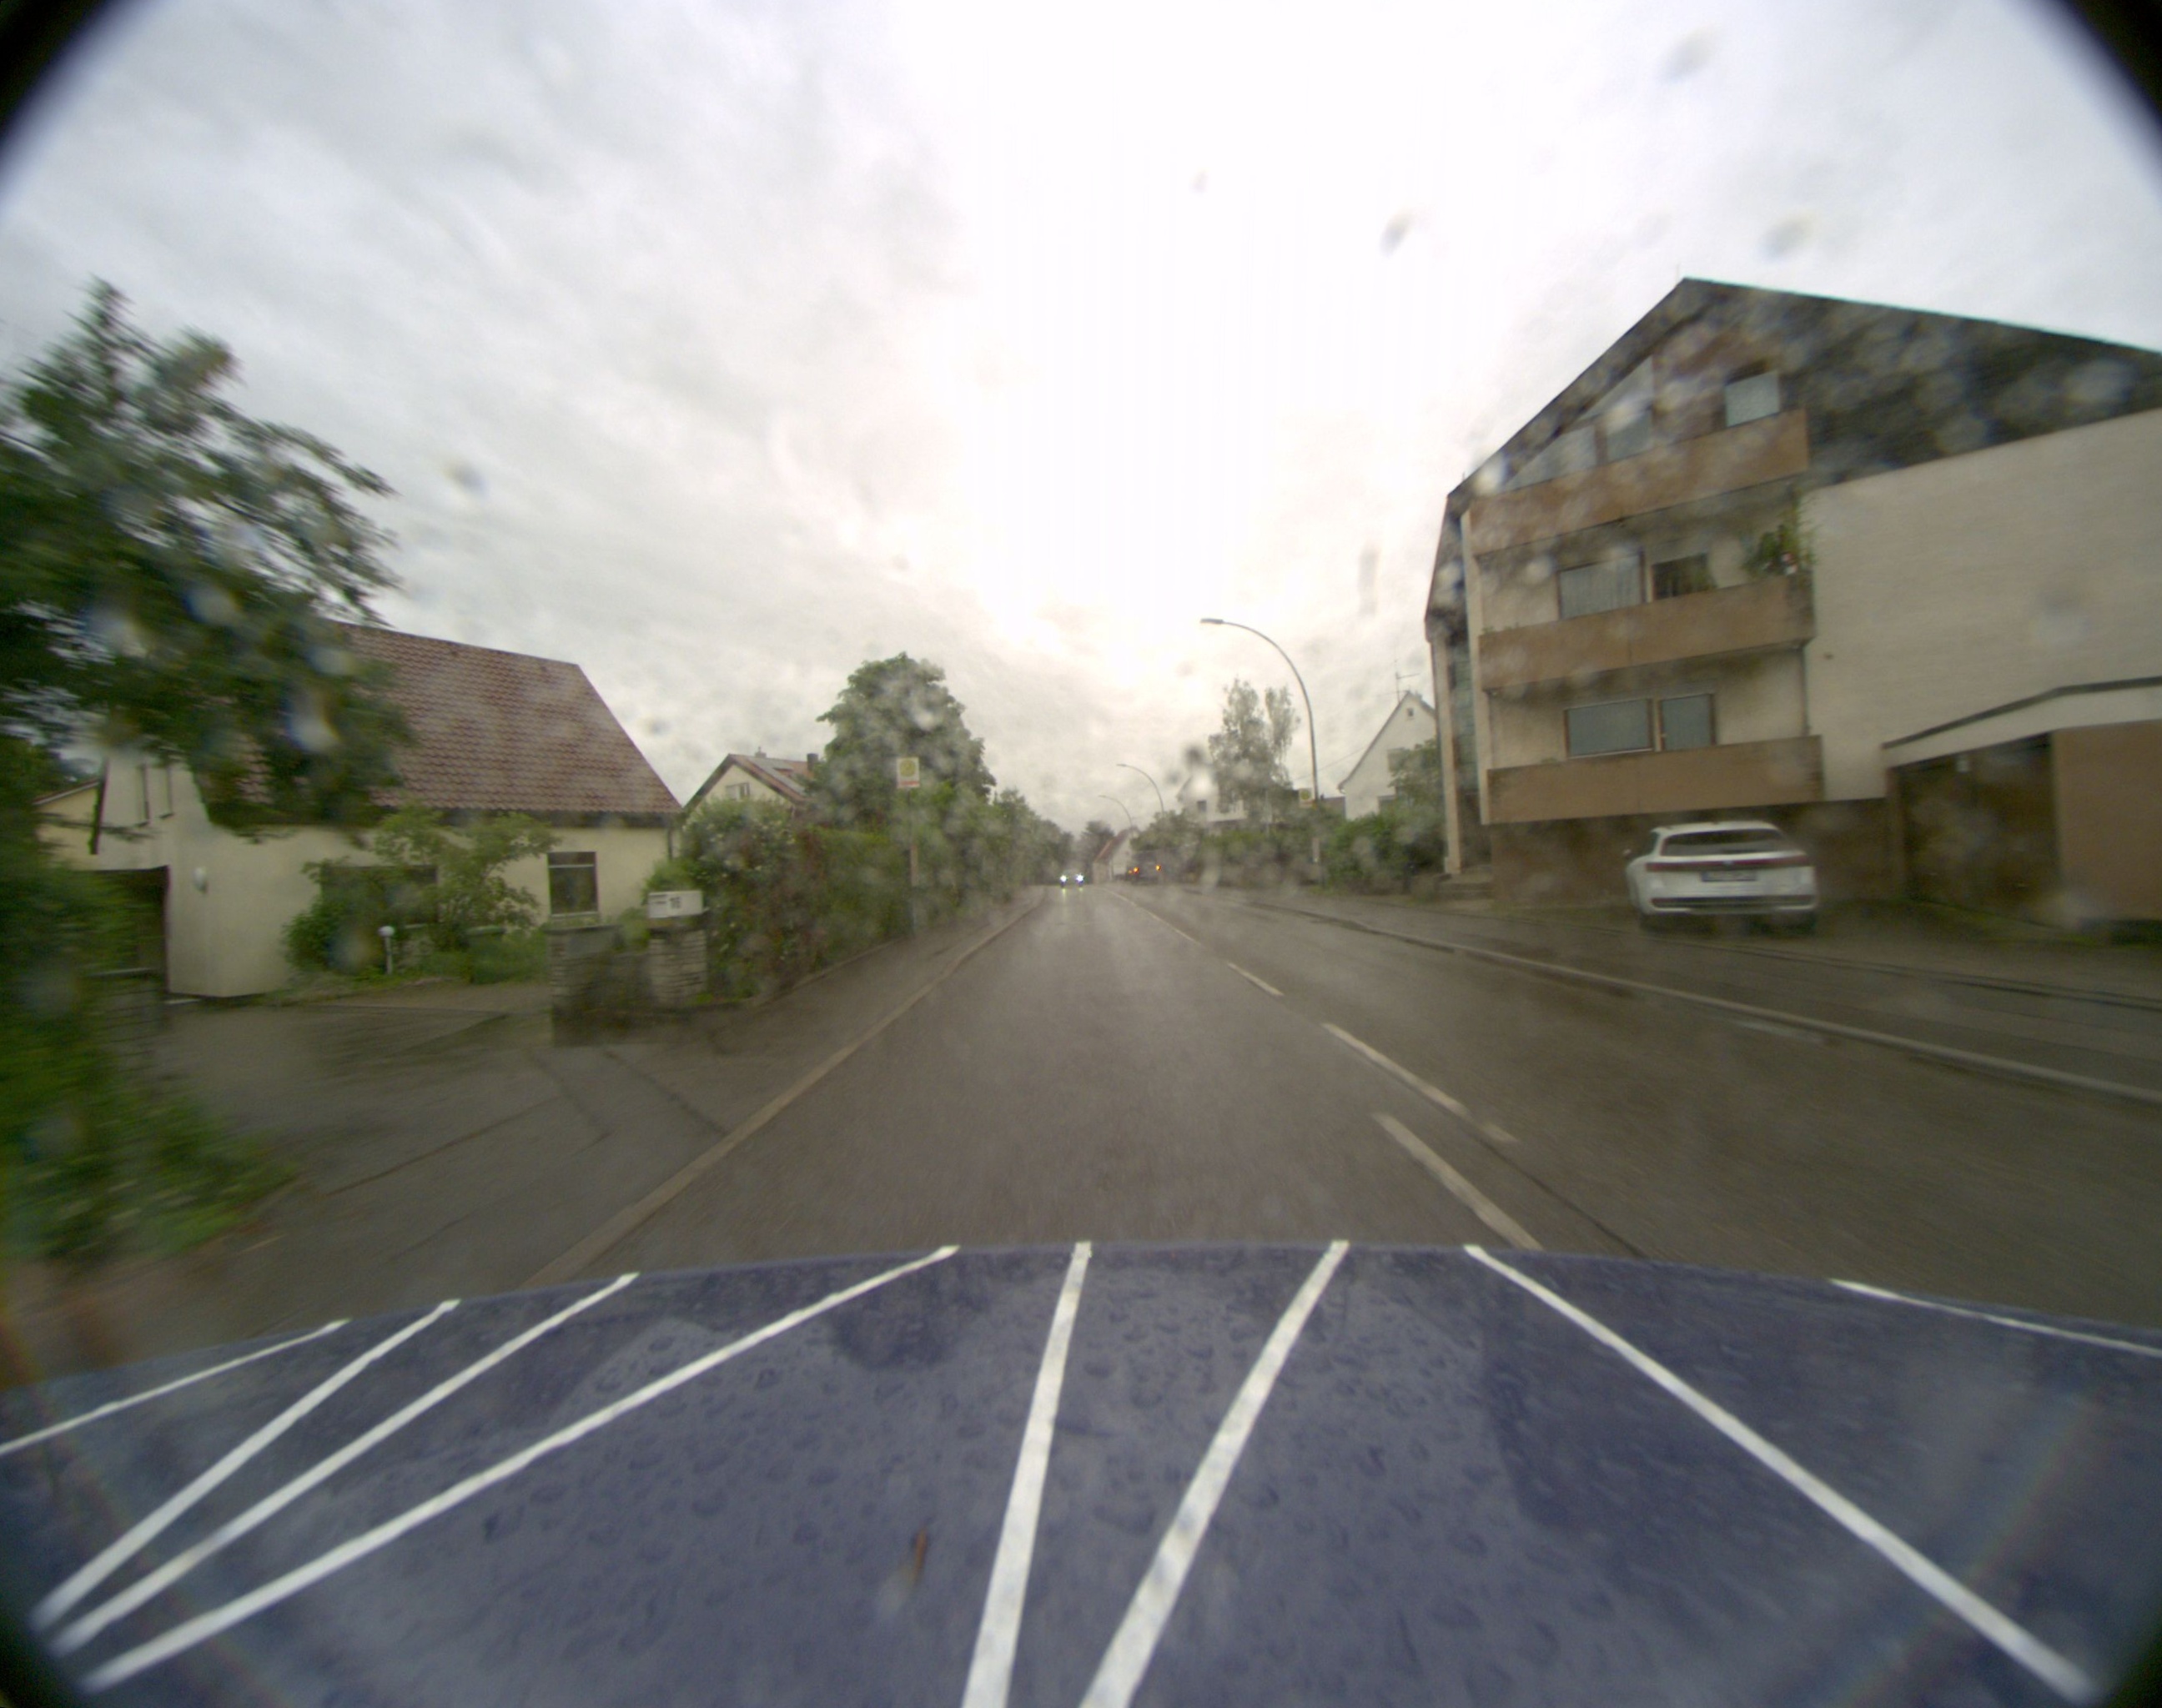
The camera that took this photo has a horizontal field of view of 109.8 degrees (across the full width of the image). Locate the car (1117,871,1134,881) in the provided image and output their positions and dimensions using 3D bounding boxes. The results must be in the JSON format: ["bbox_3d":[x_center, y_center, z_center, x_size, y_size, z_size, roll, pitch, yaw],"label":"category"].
[{"bbox_3d":[7.557,3.772,128.462,1.904,1.432,3.834,-6,-3,15],"label":"car"}]

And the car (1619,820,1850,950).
[{"bbox_3d":[9.295,0.364,11.263,1.902,1.468,4.891,-5,-2,34],"label":"car"}]

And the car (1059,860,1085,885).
[{"bbox_3d":[-0.790,1.588,64.662,1.999,2.001,4.000,-3,-2,-3],"label":"car"}]

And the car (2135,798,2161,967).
[{"bbox_3d":[10.623,0.131,5.084,3.765,1.499,1.704,-6,-1,38],"label":"car"}]

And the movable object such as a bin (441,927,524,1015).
[{"bbox_3d":[-10.971,2.106,13.940,1.016,1.460,0.809,-2,0,28],"label":"movable object such as a bin"}]

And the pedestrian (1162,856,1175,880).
[{"bbox_3d":[7.059,1.132,61.262,0.679,1.874,0.811,-3,0,30],"label":"pedestrian"}]

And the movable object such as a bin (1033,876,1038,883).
[{"bbox_3d":[-7.297,4.023,120.825,0.530,1.015,0.734,-2,-2,15],"label":"movable object such as a bin"}]

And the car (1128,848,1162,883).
[{"bbox_3d":[5.260,0.963,63.381,2.100,2.633,5.919,-5,-1,-1],"label":"car"}]
